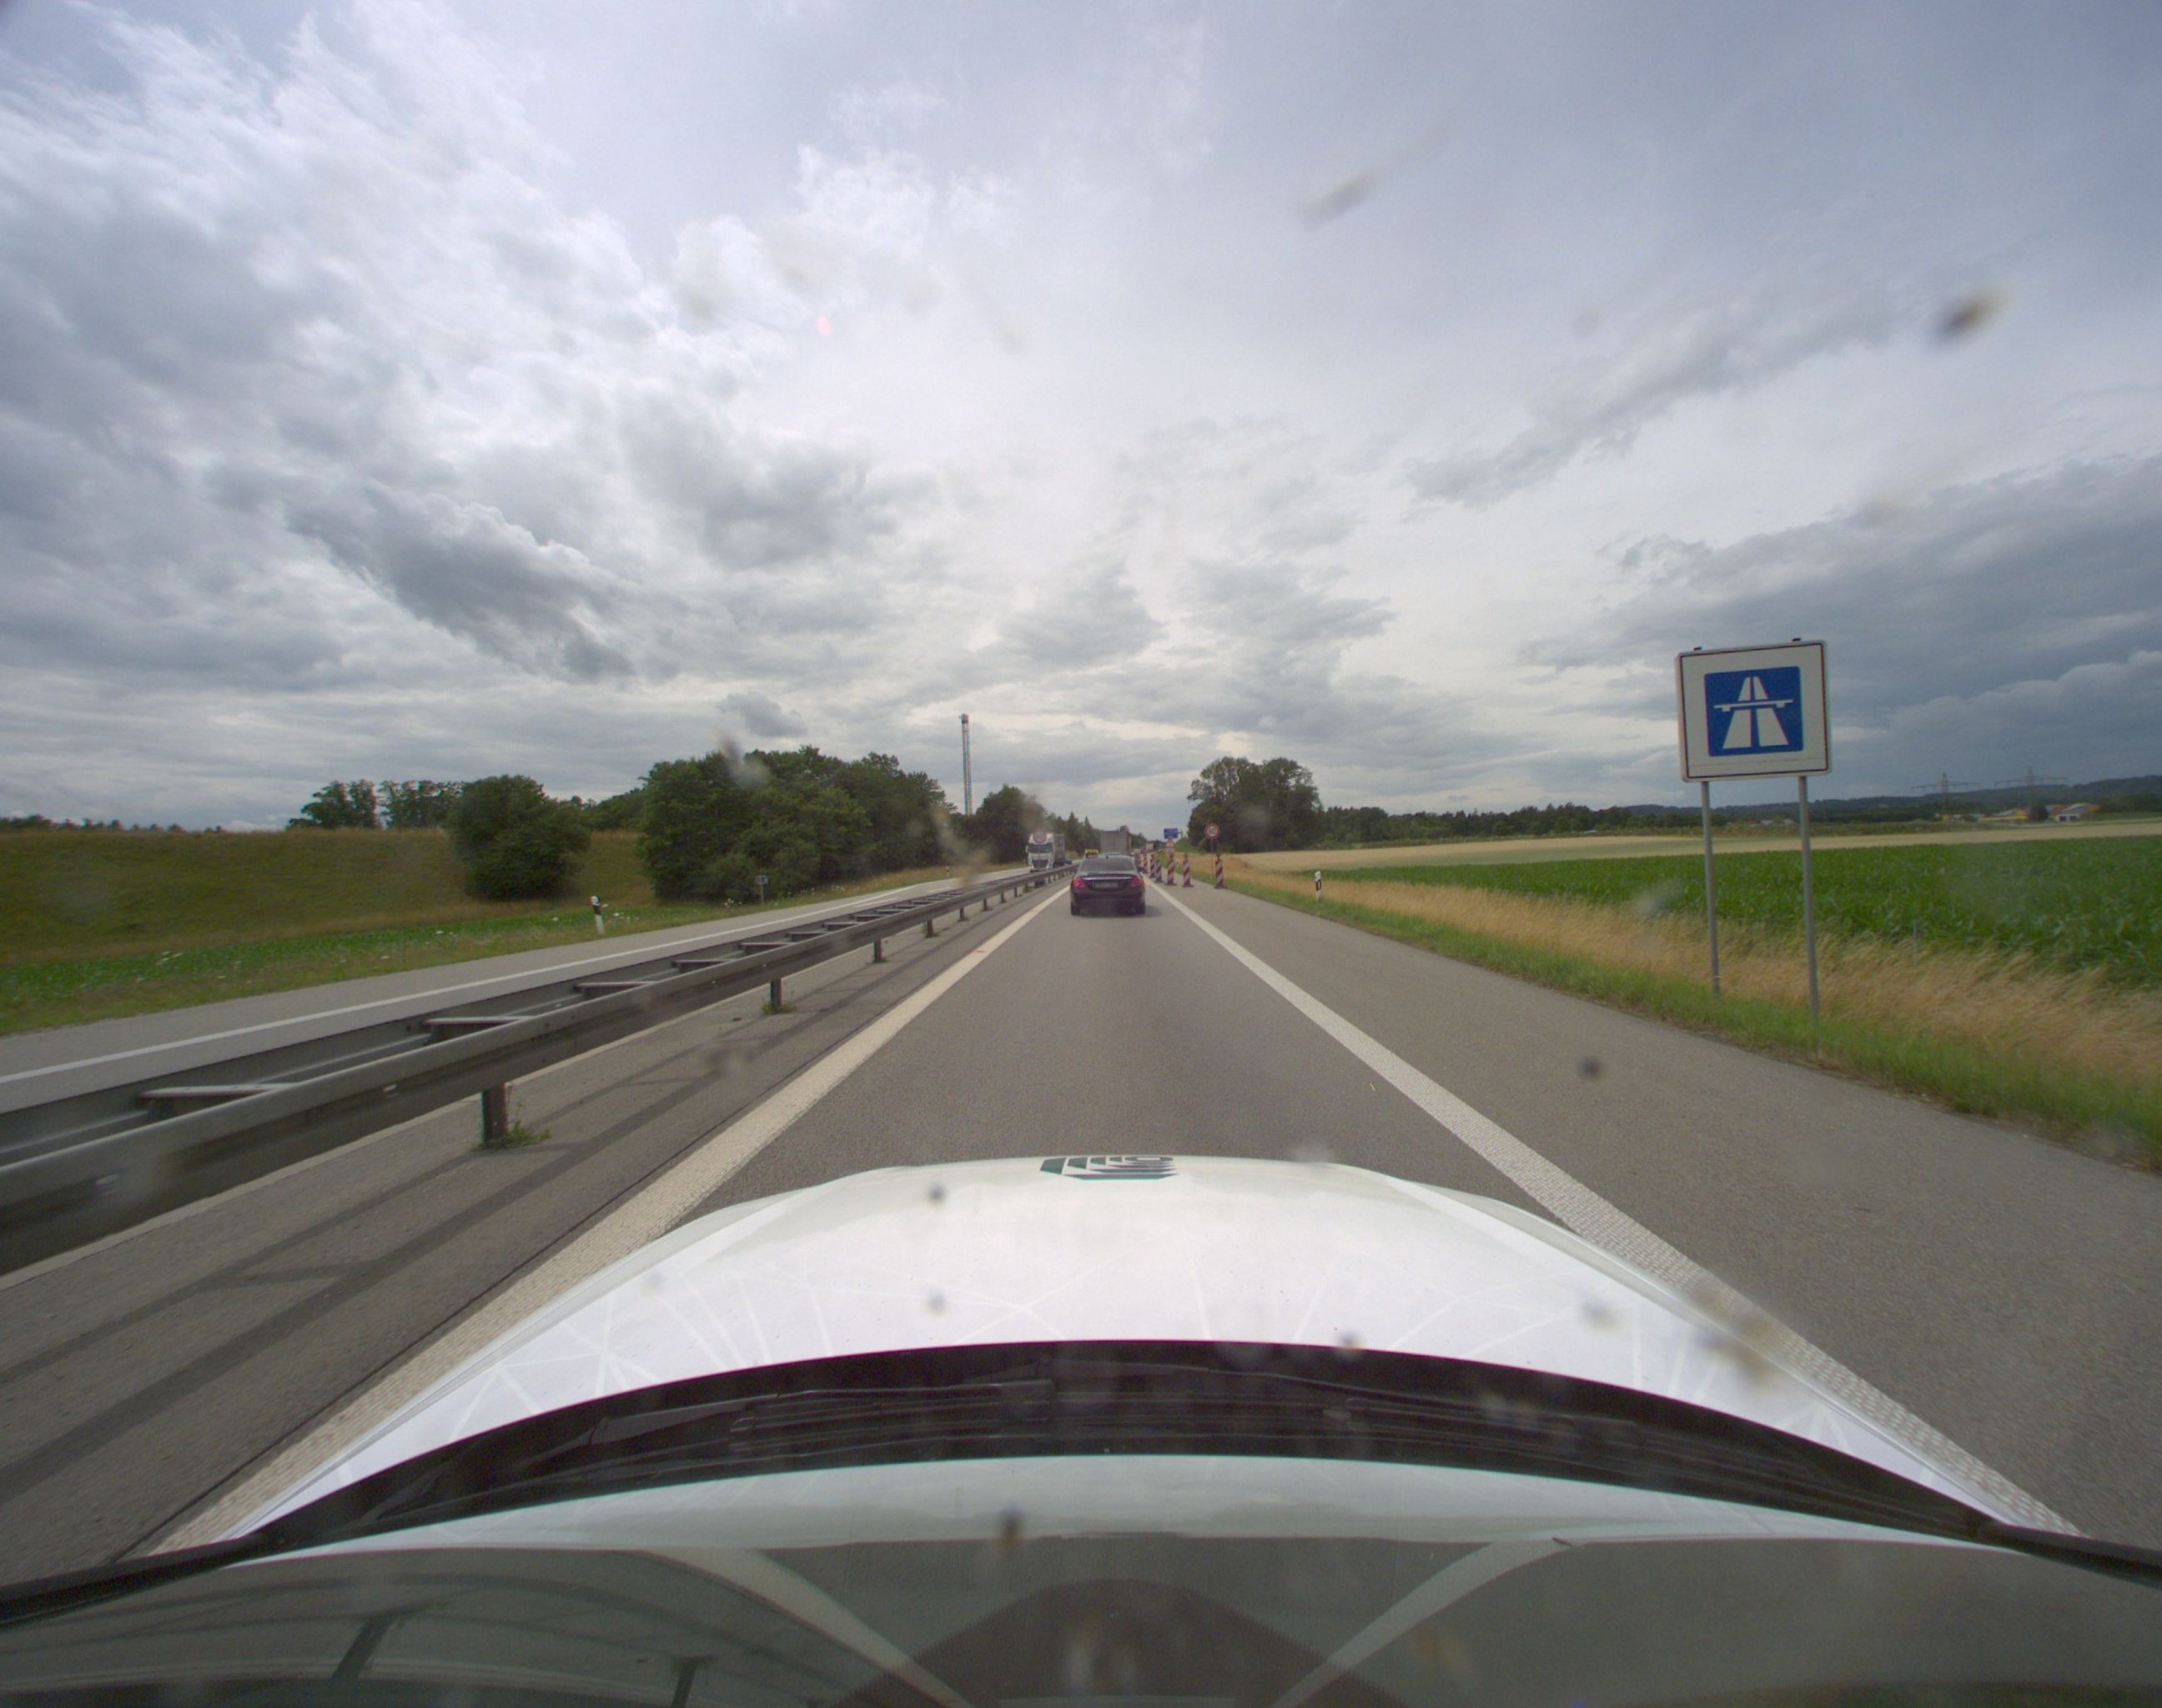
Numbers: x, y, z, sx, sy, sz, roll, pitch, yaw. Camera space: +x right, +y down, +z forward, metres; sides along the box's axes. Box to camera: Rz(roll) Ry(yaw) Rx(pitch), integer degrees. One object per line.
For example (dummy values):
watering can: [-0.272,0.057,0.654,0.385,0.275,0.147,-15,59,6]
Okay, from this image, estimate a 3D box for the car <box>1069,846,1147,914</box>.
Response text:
car: [0.666,0.625,20.807,1.789,1.560,4.001,-1,-1,1]

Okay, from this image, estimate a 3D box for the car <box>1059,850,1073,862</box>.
car: [-2.287,0.295,124.492,1.986,1.684,4.235,-1,-1,2]

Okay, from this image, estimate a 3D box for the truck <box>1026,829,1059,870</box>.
truck: [-4.062,-0.430,87.411,2.787,4.142,7.233,-1,-1,2]

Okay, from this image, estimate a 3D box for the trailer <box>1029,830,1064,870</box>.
trailer: [-3.828,-0.355,93.123,2.787,4.173,13.571,-1,-1,3]

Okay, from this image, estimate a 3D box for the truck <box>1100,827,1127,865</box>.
truck: [3.164,-0.740,79.941,2.577,3.524,4.814,-1,-1,2]

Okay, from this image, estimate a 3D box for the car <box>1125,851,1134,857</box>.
car: [11.520,0.012,193.473,1.644,1.395,3.704,-1,-1,-1]

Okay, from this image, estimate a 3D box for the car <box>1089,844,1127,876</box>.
car: [1.738,0.390,53.899,1.991,2.014,3.992,-1,-1,-6]
